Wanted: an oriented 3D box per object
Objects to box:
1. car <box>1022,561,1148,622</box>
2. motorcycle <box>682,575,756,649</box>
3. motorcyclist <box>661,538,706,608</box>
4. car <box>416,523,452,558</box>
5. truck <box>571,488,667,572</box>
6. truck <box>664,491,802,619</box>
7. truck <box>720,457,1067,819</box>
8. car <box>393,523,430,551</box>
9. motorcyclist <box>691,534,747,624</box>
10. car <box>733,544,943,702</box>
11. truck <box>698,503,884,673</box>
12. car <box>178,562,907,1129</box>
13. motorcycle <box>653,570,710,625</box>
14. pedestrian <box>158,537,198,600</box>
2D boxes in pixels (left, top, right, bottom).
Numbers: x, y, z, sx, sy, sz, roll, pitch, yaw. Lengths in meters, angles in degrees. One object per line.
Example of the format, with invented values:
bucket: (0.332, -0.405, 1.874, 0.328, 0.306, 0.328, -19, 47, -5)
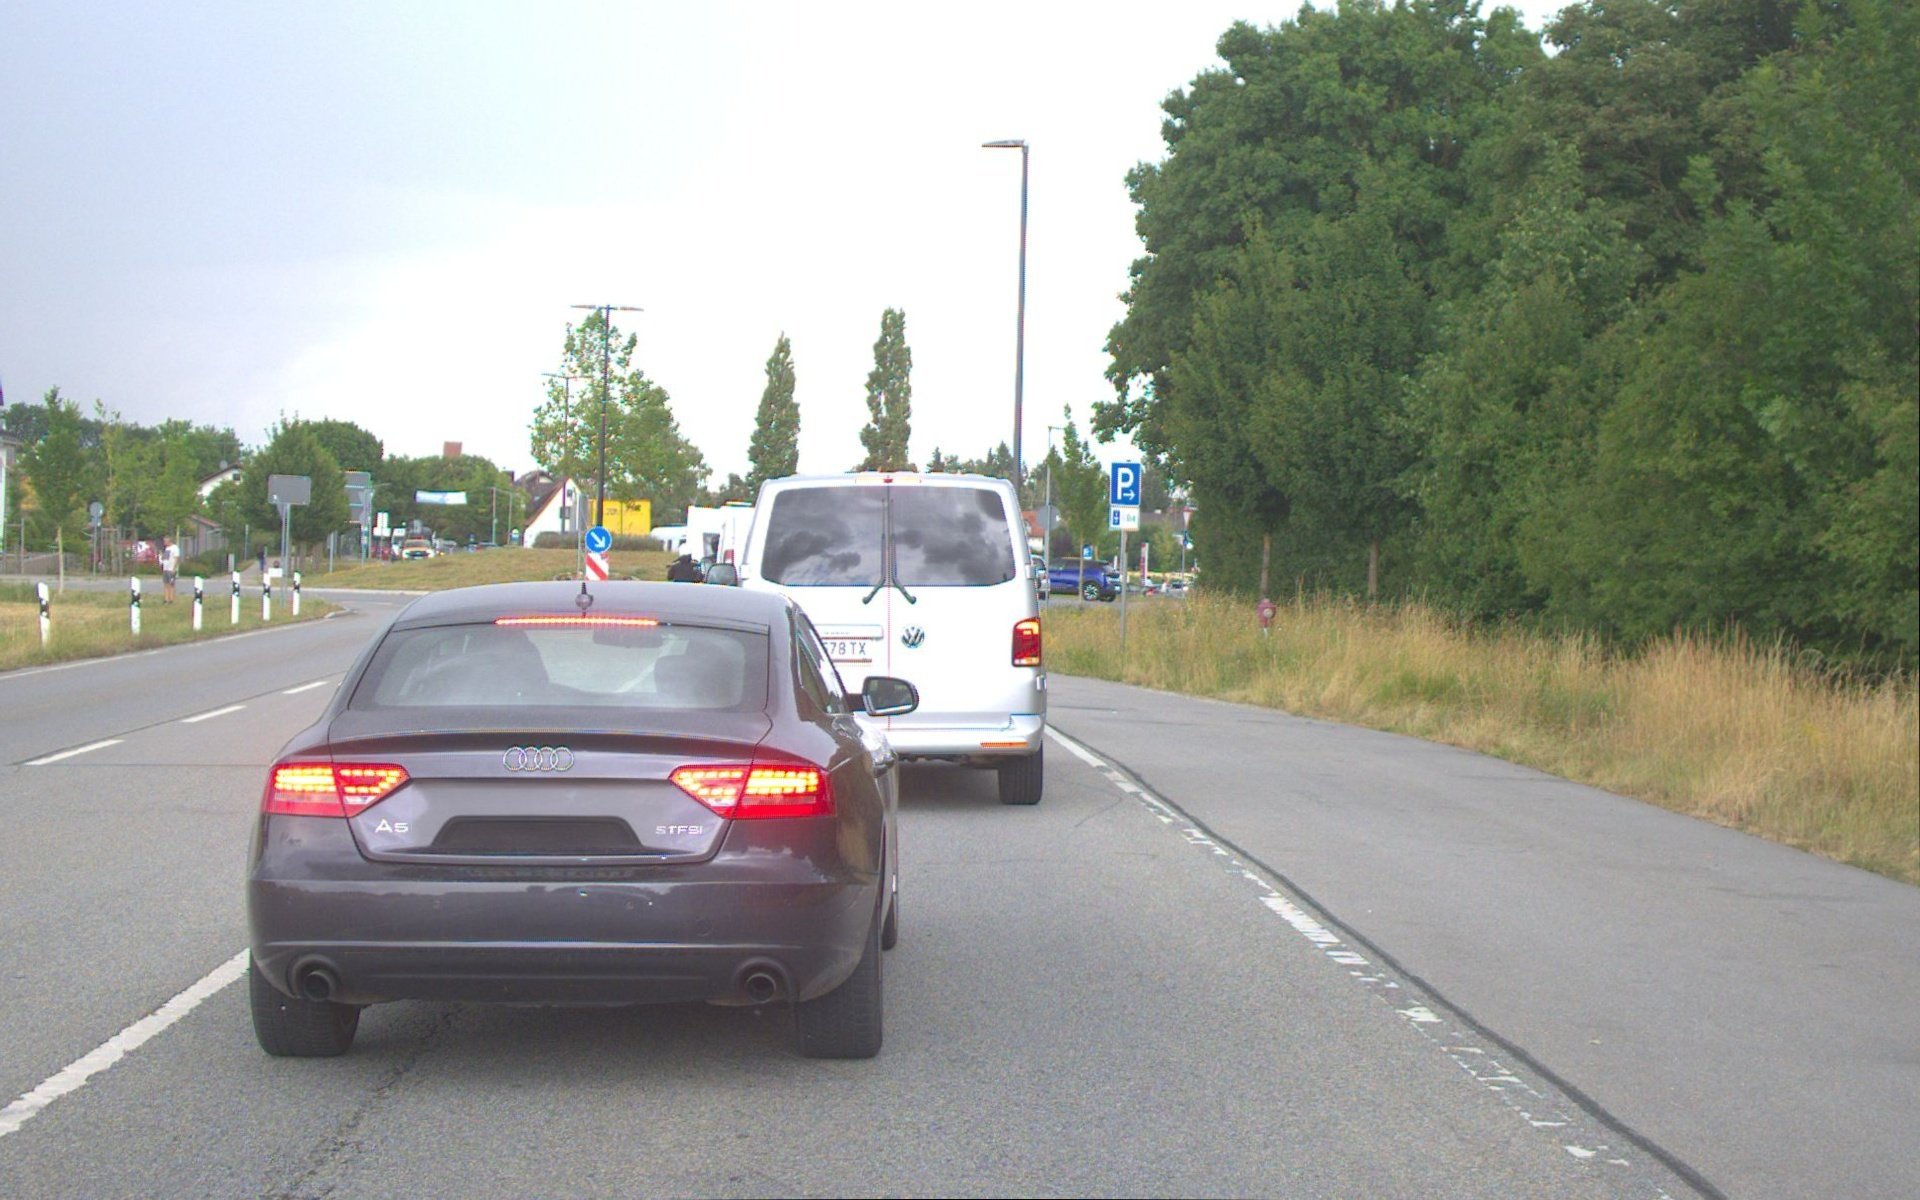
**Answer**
car: (4.434, -0.296, 121.852, 3.991, 2.007, 1.998, 2, 1, 19)
motorcycle: (-3.762, 0.179, 53.758, 0.920, 1.090, 2.188, 2, 1, 1)
motorcyclist: (-5.406, -0.529, 67.304, 0.785, 1.352, 0.854, 1, 1, -1)
car: (-31.249, -3.545, 204.360, 1.993, 2.007, 4.001, 2, 1, -8)
truck: (-15.620, -3.221, 156.616, 3.575, 3.566, 9.959, 2, 1, -10)
truck: (-5.248, -1.029, 78.553, 2.625, 2.728, 5.869, 2, 1, -8)
truck: (-0.420, 0.176, 21.647, 1.904, 1.991, 4.629, 1, 1, -1)
car: (-34.041, -3.924, 213.547, 1.993, 1.636, 4.001, 2, 1, -6)
motorcyclist: (-3.760, -0.331, 53.656, 0.772, 1.379, 0.820, 2, 1, 1)
car: (-1.249, 0.199, 35.157, 1.993, 1.480, 4.000, 1, 1, -2)
truck: (-2.105, -0.172, 44.209, 2.193, 2.007, 5.085, 1, 1, -1)
car: (-1.124, 0.620, 11.073, 1.875, 1.449, 4.177, 1, 1, -1)
motorcycle: (-5.438, -0.064, 67.207, 0.944, 1.016, 2.284, 1, 1, -1)
pedestrian: (-19.853, -0.806, 87.252, 0.702, 1.580, 0.656, 2, 1, 36)
